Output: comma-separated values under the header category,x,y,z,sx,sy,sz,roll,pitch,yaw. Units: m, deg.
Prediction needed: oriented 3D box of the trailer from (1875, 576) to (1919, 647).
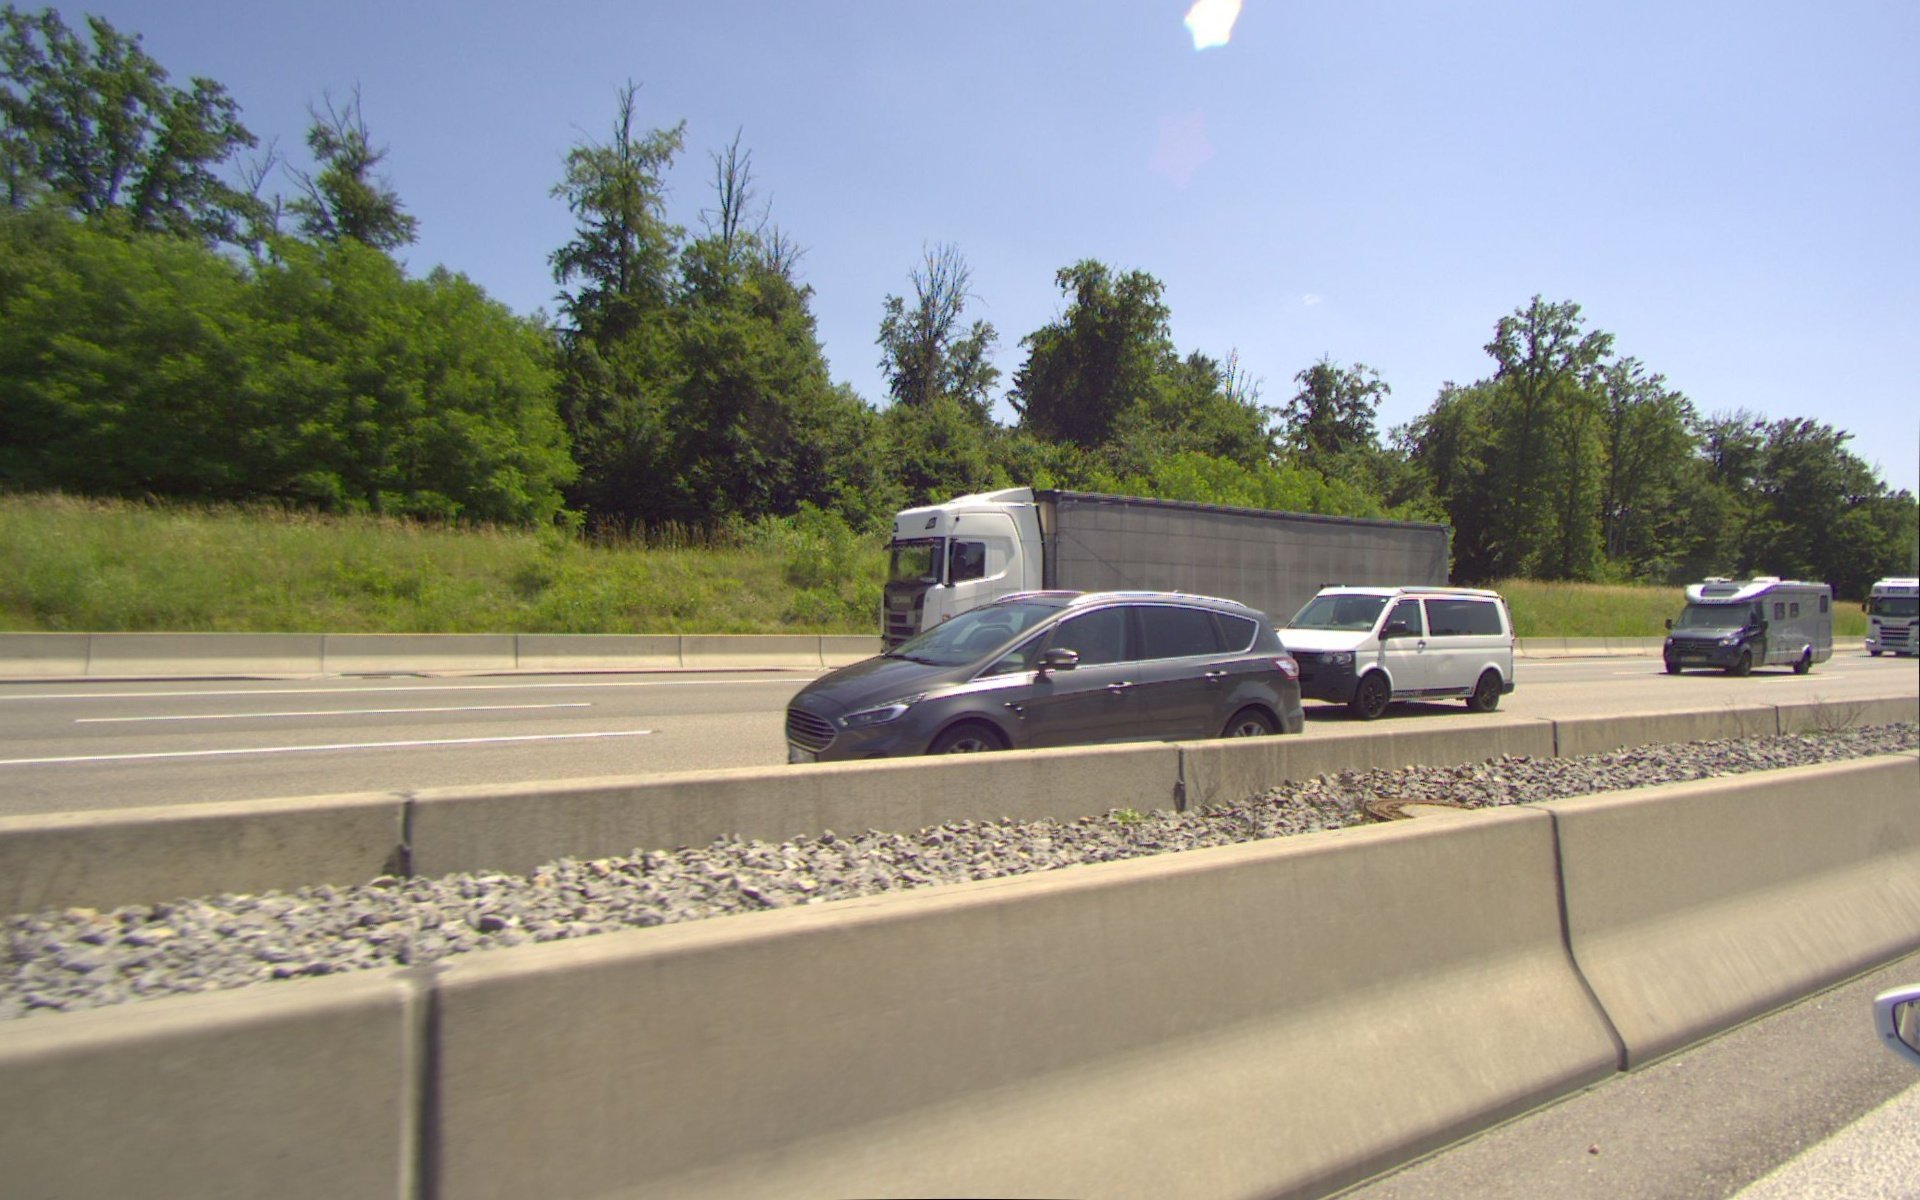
category,x,y,z,sx,sy,sz,roll,pitch,yaw
trailer,52.848,0.734,54.205,10.384,3.582,2.635,2,0,-33

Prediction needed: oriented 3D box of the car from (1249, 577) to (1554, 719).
category,x,y,z,sx,sy,sz,roll,pitch,yaw
car,7.379,0.755,16.652,5.123,2.040,1.993,1,-1,-30

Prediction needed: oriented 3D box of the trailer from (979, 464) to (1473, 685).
category,x,y,z,sx,sy,sz,roll,pitch,yaw
trailer,7.257,-0.309,25.119,14.118,4.418,3.015,2,0,-32

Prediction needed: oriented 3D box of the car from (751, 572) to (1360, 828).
category,x,y,z,sx,sy,sz,roll,pitch,yaw
car,0.977,0.705,8.623,5.104,1.655,1.863,2,-1,-31

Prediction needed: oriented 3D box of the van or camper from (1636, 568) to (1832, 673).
category,x,y,z,sx,sy,sz,roll,pitch,yaw
van or camper,24.342,0.657,31.473,7.269,2.970,2.544,1,-1,-33

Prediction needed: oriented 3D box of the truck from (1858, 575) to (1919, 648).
category,x,y,z,sx,sy,sz,roll,pitch,yaw
truck,49.266,0.654,51.843,6.551,3.590,2.687,2,0,-33

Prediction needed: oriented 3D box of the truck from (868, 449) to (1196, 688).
category,x,y,z,sx,sy,sz,roll,pitch,yaw
truck,1.610,-0.506,21.595,6.384,4.430,3.026,2,0,-32
